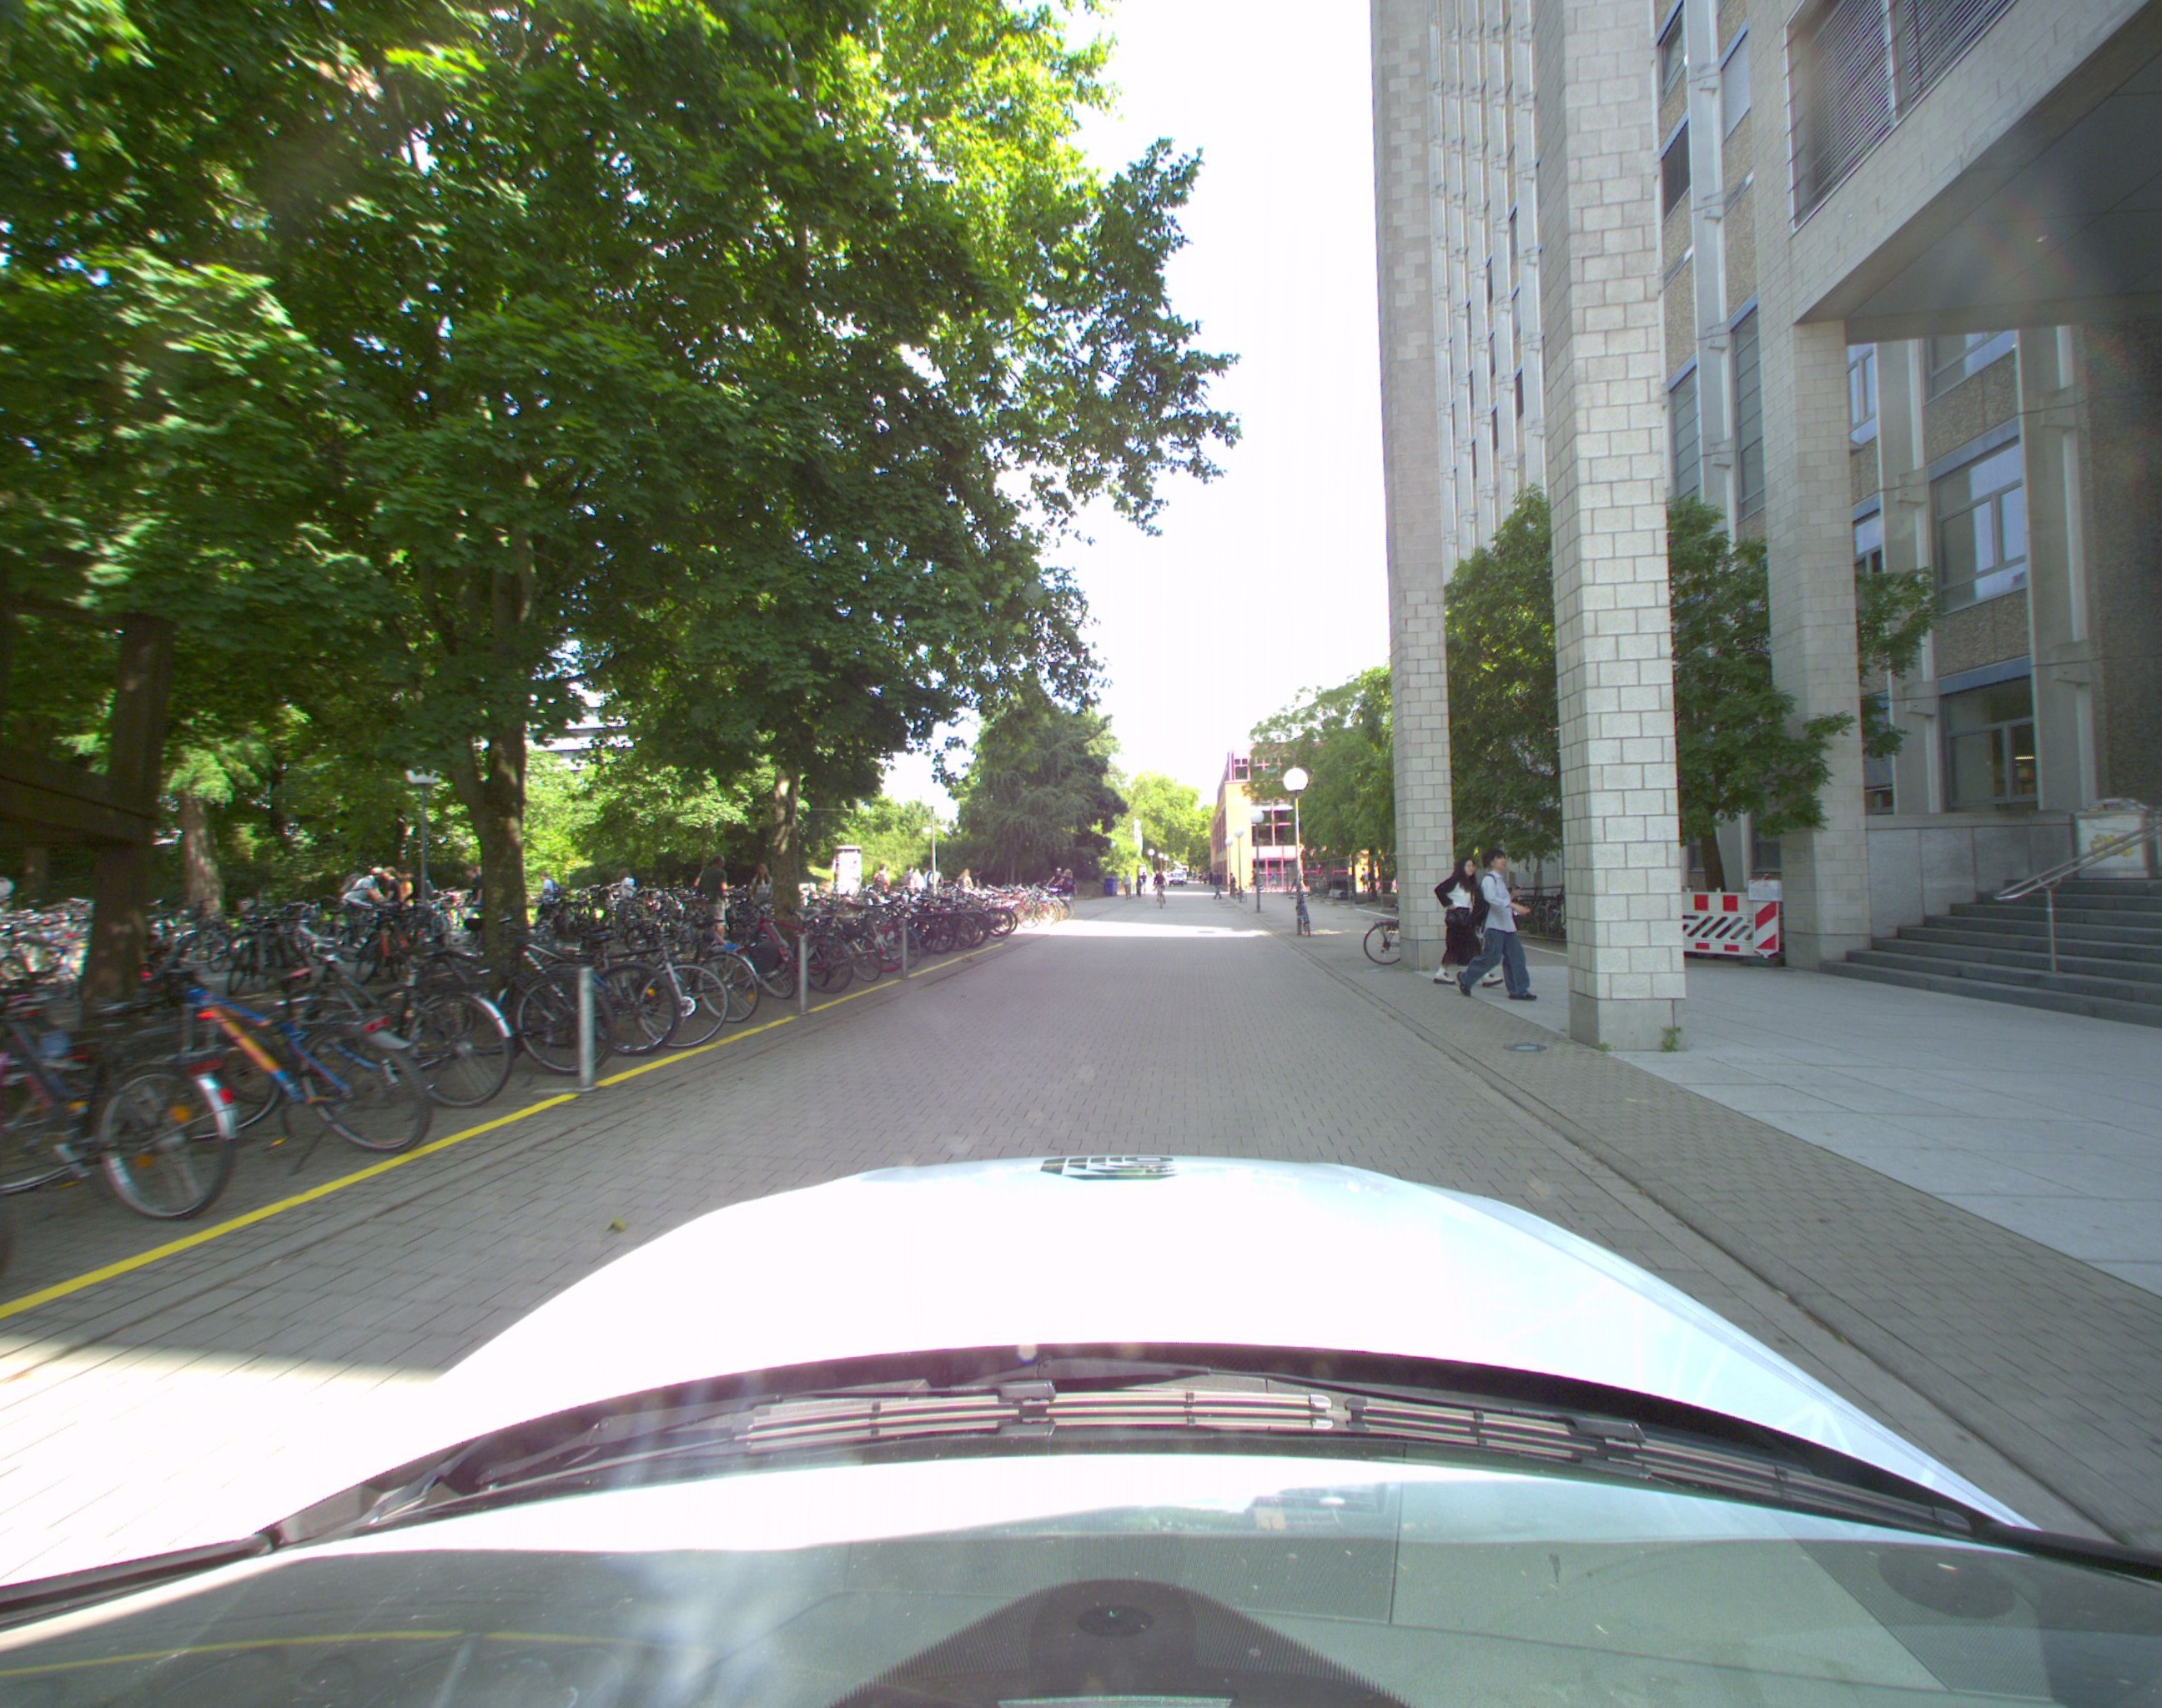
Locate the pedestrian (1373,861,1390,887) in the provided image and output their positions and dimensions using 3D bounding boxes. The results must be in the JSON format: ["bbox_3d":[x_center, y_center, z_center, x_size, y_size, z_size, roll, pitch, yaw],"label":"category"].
[{"bbox_3d":[20.781,1.402,56.334,0.898,1.729,0.685,-1,-4,3],"label":"pedestrian"}]

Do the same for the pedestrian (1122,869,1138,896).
[{"bbox_3d":[3.377,1.993,56.641,0.785,1.845,1.111,1,-2,-17],"label":"pedestrian"}]

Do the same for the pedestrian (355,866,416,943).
[{"bbox_3d":[-16.523,1.167,19.361,0.909,1.774,0.763,0,-2,-26],"label":"pedestrian"}]

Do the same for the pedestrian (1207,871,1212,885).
[{"bbox_3d":[16.148,3.015,102.172,0.583,1.673,0.819,-2,-3,9],"label":"pedestrian"}]

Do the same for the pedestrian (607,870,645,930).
[{"bbox_3d":[-13.199,1.320,23.632,0.909,1.680,0.763,0,-2,-26],"label":"pedestrian"}]

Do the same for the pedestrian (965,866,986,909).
[{"bbox_3d":[-4.287,1.359,33.133,0.680,1.724,0.905,0,-2,6],"label":"pedestrian"}]

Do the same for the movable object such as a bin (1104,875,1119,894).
[{"bbox_3d":[2.224,2.189,59.140,0.703,1.336,1.245,1,-1,18],"label":"movable object such as a bin"}]

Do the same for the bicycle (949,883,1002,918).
[{"bbox_3d":[-3.454,1.522,26.698,1.680,1.110,0.476,-1,-2,20],"label":"bicycle"}]

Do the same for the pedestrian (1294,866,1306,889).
[{"bbox_3d":[17.677,1.897,65.866,0.822,1.844,0.685,0,-2,5],"label":"pedestrian"}]

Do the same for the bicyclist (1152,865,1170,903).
[{"bbox_3d":[3.733,1.392,37.829,0.768,1.716,0.912,-2,-3,5],"label":"bicyclist"}]

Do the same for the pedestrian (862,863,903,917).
[{"bbox_3d":[-6.546,1.166,26.872,0.710,1.724,1.071,-2,-1,40],"label":"pedestrian"}]

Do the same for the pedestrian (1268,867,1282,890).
[{"bbox_3d":[14.924,1.922,62.656,0.894,1.729,0.688,-3,-4,23],"label":"pedestrian"}]

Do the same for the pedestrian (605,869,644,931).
[{"bbox_3d":[-12.817,1.274,22.886,0.909,1.680,0.763,0,-2,-26],"label":"pedestrian"}]

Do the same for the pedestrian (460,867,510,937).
[{"bbox_3d":[-15.623,1.240,21.377,0.909,1.774,0.763,0,-2,-26],"label":"pedestrian"}]

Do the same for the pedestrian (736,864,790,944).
[{"bbox_3d":[-7.019,1.089,17.972,0.895,1.703,0.774,-2,-2,42],"label":"pedestrian"}]

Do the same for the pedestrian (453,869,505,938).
[{"bbox_3d":[-15.129,1.218,20.496,0.909,1.680,0.763,0,-2,-26],"label":"pedestrian"}]

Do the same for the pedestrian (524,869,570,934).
[{"bbox_3d":[-14.298,1.247,21.830,0.909,1.680,0.763,0,-2,-26],"label":"pedestrian"}]

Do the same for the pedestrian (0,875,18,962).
[{"bbox_3d":[-22.608,1.321,16.549,0.906,1.774,0.766,0,-2,-16],"label":"pedestrian"}]

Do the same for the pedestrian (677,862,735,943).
[{"bbox_3d":[-8.111,1.028,17.649,0.763,1.703,0.908,-1,-1,6],"label":"pedestrian"}]

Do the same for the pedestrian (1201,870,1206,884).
[{"bbox_3d":[15.151,2.841,100.700,0.583,1.673,0.819,-2,-3,9],"label":"pedestrian"}]

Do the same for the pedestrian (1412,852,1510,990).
[{"bbox_3d":[4.704,0.795,10.087,0.811,1.617,0.733,0,-2,-34],"label":"pedestrian"}]

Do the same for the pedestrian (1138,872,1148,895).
[{"bbox_3d":[4.307,2.055,56.834,0.568,1.611,0.916,0,-2,-5],"label":"pedestrian"}]

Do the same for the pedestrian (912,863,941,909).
[{"bbox_3d":[-6.235,1.276,32.929,0.825,1.815,0.887,-1,-2,19],"label":"pedestrian"}]

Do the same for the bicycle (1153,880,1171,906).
[{"bbox_3d":[3.743,1.802,37.833,0.768,1.150,2.110,-2,-3,5],"label":"bicycle"}]

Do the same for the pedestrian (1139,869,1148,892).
[{"bbox_3d":[4.862,2.070,63.435,0.679,1.844,0.784,0,-2,8],"label":"pedestrian"}]

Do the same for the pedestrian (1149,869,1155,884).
[{"bbox_3d":[8.770,2.763,100.051,0.679,1.844,0.784,0,-2,8],"label":"pedestrian"}]

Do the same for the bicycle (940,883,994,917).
[{"bbox_3d":[-3.667,1.472,26.164,1.703,1.084,0.476,-1,-2,22],"label":"bicycle"}]

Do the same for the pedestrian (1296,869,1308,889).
[{"bbox_3d":[17.666,1.989,65.118,0.777,1.621,0.685,0,-2,5],"label":"pedestrian"}]

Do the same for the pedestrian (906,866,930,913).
[{"bbox_3d":[-6.155,1.329,30.783,0.688,1.724,0.724,-1,-1,-29],"label":"pedestrian"}]

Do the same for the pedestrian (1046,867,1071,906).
[{"bbox_3d":[-1.054,1.513,38.166,0.606,1.835,1.056,-2,-2,42],"label":"pedestrian"}]

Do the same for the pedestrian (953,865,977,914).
[{"bbox_3d":[-4.179,1.272,29.408,0.681,1.724,0.732,0,-2,5],"label":"pedestrian"}]

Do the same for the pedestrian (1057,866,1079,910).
[{"bbox_3d":[-0.502,1.298,31.416,0.766,1.680,0.905,-1,-1,-5],"label":"pedestrian"}]

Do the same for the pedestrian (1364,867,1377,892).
[{"bbox_3d":[21.099,1.871,59.362,0.761,1.795,0.590,-3,-3,15],"label":"pedestrian"}]

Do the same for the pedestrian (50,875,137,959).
[{"bbox_3d":[-21.587,1.350,17.825,0.905,1.774,0.766,0,-2,-15],"label":"pedestrian"}]

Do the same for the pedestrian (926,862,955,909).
[{"bbox_3d":[-5.391,1.198,31.247,0.938,1.724,0.672,-1,-1,-21],"label":"pedestrian"}]

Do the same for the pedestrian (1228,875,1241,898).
[{"bbox_3d":[11.274,2.400,59.757,0.846,1.651,0.590,-1,-2,15],"label":"pedestrian"}]

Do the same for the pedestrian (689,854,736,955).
[{"bbox_3d":[-6.841,0.912,15.117,0.771,1.807,0.704,0,-2,-26],"label":"pedestrian"}]

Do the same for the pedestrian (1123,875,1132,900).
[{"bbox_3d":[3.500,2.496,61.550,0.679,1.873,1.122,0,-2,3],"label":"pedestrian"}]

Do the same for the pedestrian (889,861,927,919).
[{"bbox_3d":[-5.642,1.154,26.551,0.677,1.835,0.947,-2,-1,42],"label":"pedestrian"}]

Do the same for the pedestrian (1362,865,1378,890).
[{"bbox_3d":[20.484,1.698,57.717,0.898,1.729,0.685,-1,-4,3],"label":"pedestrian"}]

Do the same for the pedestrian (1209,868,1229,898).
[{"bbox_3d":[8.817,1.854,52.065,0.877,1.858,1.039,-1,-2,35],"label":"pedestrian"}]

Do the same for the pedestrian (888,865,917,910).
[{"bbox_3d":[-7.217,1.342,32.888,0.762,1.804,0.988,-1,-2,16],"label":"pedestrian"}]

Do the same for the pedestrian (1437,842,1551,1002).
[{"bbox_3d":[4.582,0.725,9.055,0.888,1.670,0.679,-4,-3,44],"label":"pedestrian"}]

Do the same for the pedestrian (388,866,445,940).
[{"bbox_3d":[-16.526,1.195,20.273,0.909,1.774,0.763,0,-2,-26],"label":"pedestrian"}]

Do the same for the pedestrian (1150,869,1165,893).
[{"bbox_3d":[6.208,2.181,66.070,0.717,1.882,1.089,-2,-3,40],"label":"pedestrian"}]

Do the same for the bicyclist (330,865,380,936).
[{"bbox_3d":[-16.361,1.040,18.372,0.724,1.568,0.589,1,-2,-33],"label":"bicyclist"}]

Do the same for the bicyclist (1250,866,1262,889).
[{"bbox_3d":[13.306,1.792,61.914,0.657,1.716,0.592,-2,-2,27],"label":"bicyclist"}]
